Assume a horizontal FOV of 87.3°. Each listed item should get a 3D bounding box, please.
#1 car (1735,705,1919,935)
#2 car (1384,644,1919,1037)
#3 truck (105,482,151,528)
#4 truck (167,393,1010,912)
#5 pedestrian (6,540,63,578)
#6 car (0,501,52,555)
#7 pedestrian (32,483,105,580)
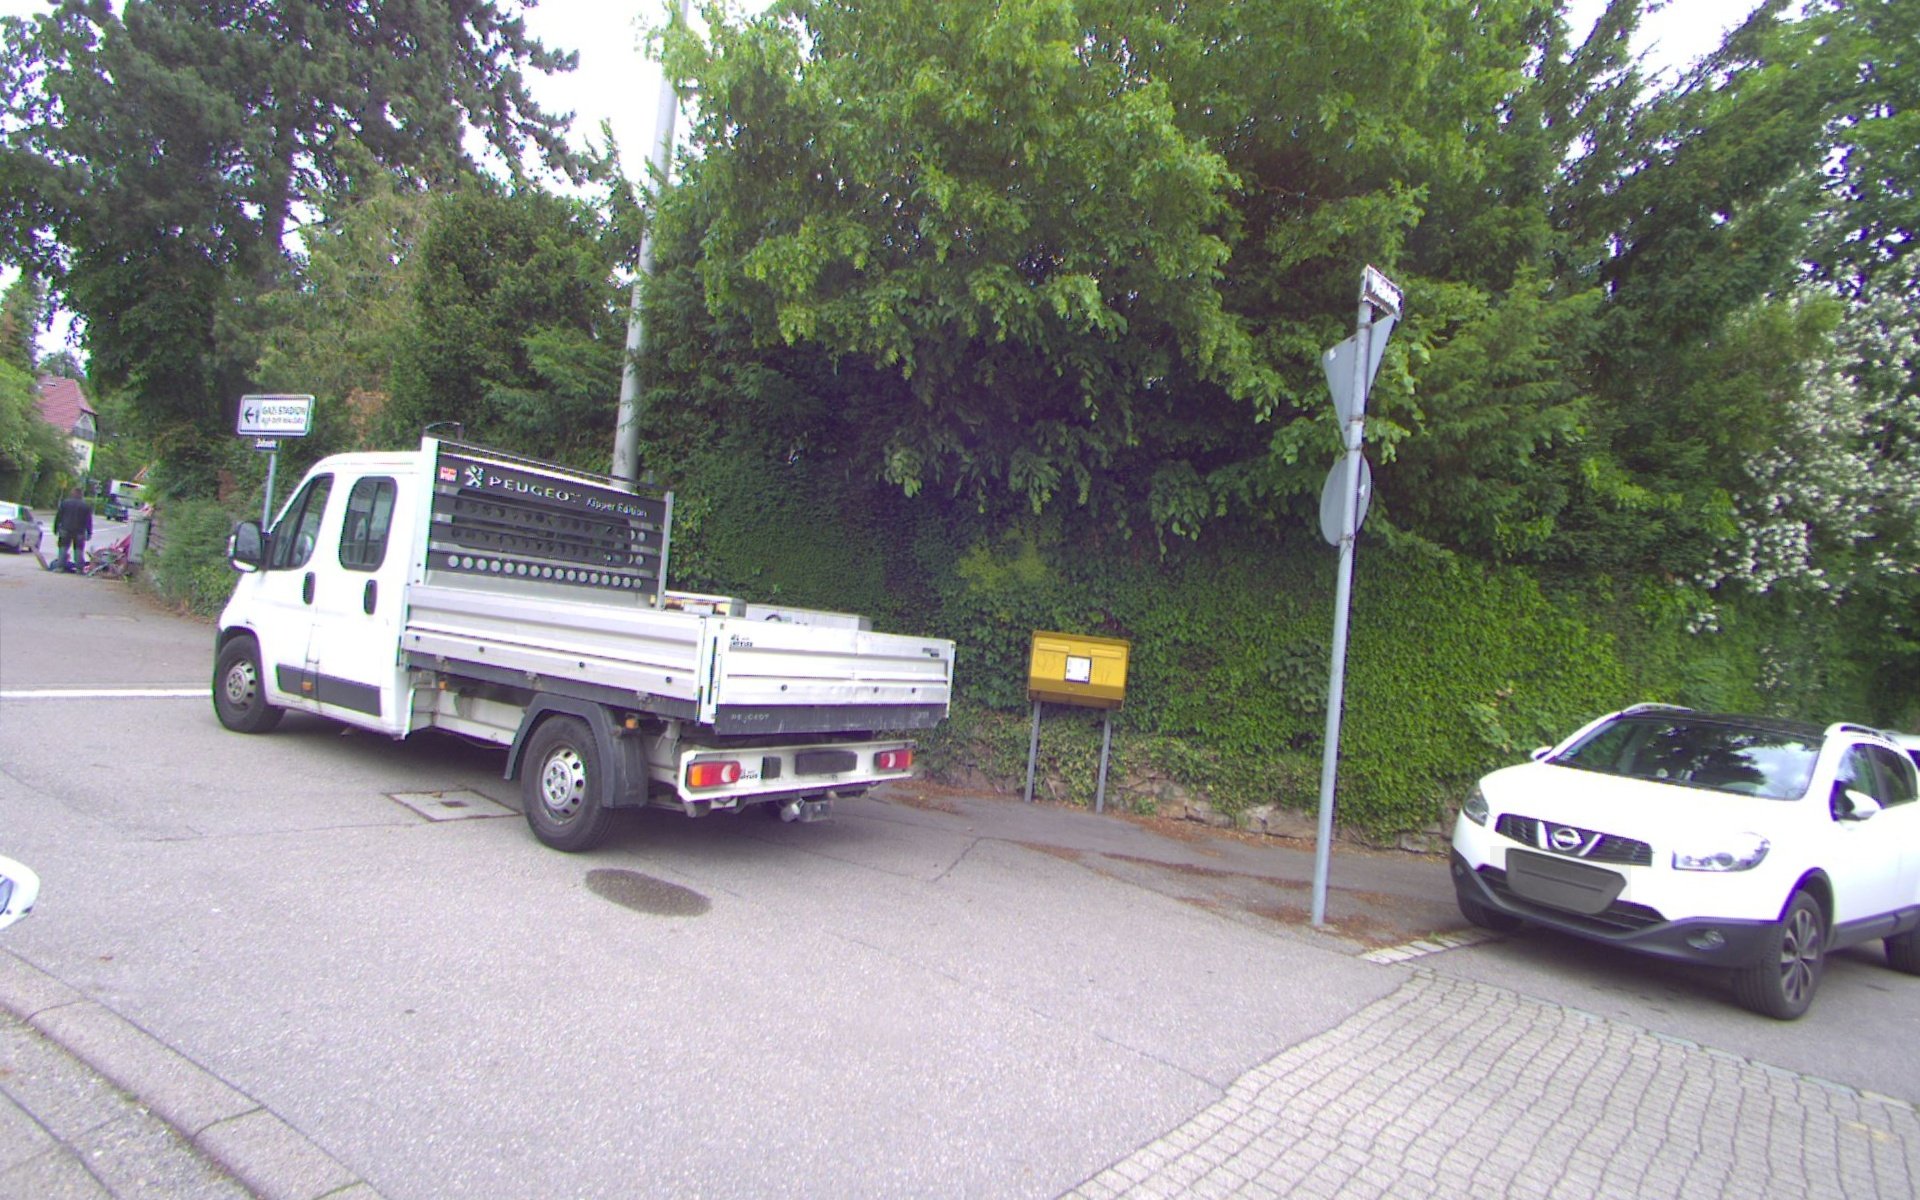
[{"bbox_3d":[9.179,2.065,9.352,4.030,1.679,1.852,9,-2,-34],"label":"car"},{"bbox_3d":[4.879,1.406,6.580,4.030,1.659,1.851,9,-1,-34],"label":"car"},{"bbox_3d":[-75.942,-8.612,91.947,2.766,3.501,7.415,8,-2,-39],"label":"truck"},{"bbox_3d":[-2.973,0.107,7.285,6.090,2.378,2.400,6,-2,34],"label":"truck"},{"bbox_3d":[-20.478,-0.899,22.263,0.574,0.705,0.647,8,-1,13],"label":"pedestrian"},{"bbox_3d":[-28.187,-2.166,29.405,1.787,1.431,4.296,8,-3,-35],"label":"car"},{"bbox_3d":[-19.454,-1.490,21.961,0.788,1.946,0.847,7,0,34],"label":"pedestrian"}]
